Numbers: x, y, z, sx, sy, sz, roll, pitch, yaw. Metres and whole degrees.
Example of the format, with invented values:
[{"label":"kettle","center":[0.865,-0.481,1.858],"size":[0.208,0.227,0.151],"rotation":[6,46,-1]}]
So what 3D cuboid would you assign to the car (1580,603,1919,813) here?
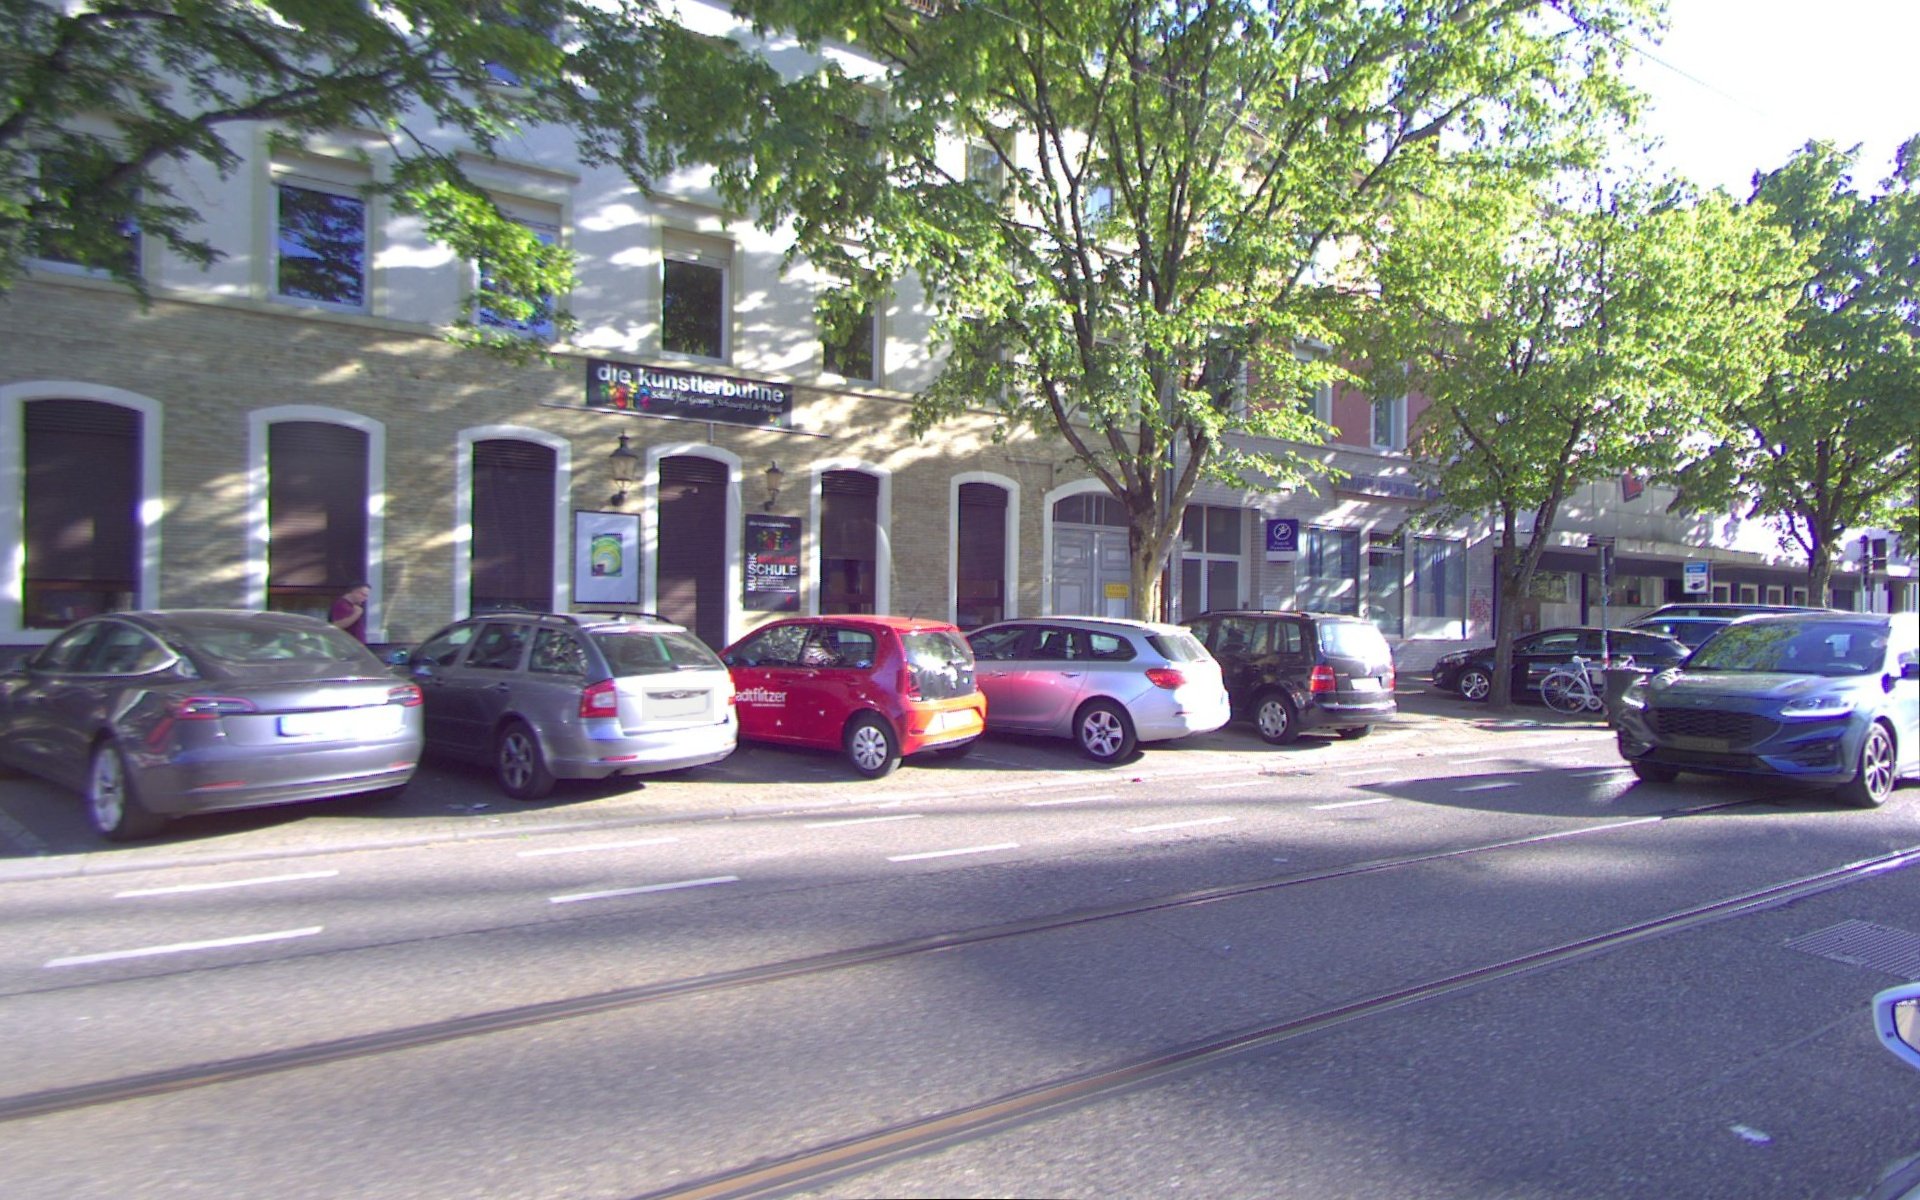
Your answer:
[{"label":"car","center":[8.192,0.912,9.806],"size":[4.199,1.651,1.918],"rotation":[2,-1,-30]}]

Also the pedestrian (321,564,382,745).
[{"label":"pedestrian","center":[-7.114,0.622,11.768],"size":[0.549,2.040,0.728],"rotation":[1,-1,-28]}]

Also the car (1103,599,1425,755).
[{"label":"car","center":[4.031,0.920,13.973],"size":[1.820,1.700,4.081],"rotation":[1,1,-32]}]

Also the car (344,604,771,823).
[{"label":"car","center":[-3.678,0.855,9.061],"size":[3.620,1.490,1.749],"rotation":[2,0,32]}]

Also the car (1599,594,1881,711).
[{"label":"car","center":[15.663,0.964,20.405],"size":[4.301,2.013,1.941],"rotation":[2,0,39]}]

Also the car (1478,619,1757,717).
[{"label":"car","center":[11.311,1.093,17.404],"size":[3.814,1.496,1.833],"rotation":[-1,-2,43]}]

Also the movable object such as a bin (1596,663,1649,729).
[{"label":"movable object such as a bin","center":[10.175,1.461,15.422],"size":[0.569,0.925,0.572],"rotation":[2,2,44]}]

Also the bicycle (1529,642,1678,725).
[{"label":"bicycle","center":[10.323,1.313,16.168],"size":[1.944,1.160,0.490],"rotation":[2,1,43]}]

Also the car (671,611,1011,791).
[{"label":"car","center":[-1.303,0.937,10.695],"size":[3.315,1.513,1.609],"rotation":[2,1,33]}]

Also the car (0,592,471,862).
[{"label":"car","center":[-5.915,0.741,7.851],"size":[4.131,1.511,1.938],"rotation":[2,1,34]}]

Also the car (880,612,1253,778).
[{"label":"car","center":[1.203,0.982,12.018],"size":[4.048,1.533,1.835],"rotation":[2,1,34]}]

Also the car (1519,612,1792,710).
[{"label":"car","center":[13.356,1.105,19.435],"size":[4.185,1.707,1.802],"rotation":[-1,-2,40]}]
